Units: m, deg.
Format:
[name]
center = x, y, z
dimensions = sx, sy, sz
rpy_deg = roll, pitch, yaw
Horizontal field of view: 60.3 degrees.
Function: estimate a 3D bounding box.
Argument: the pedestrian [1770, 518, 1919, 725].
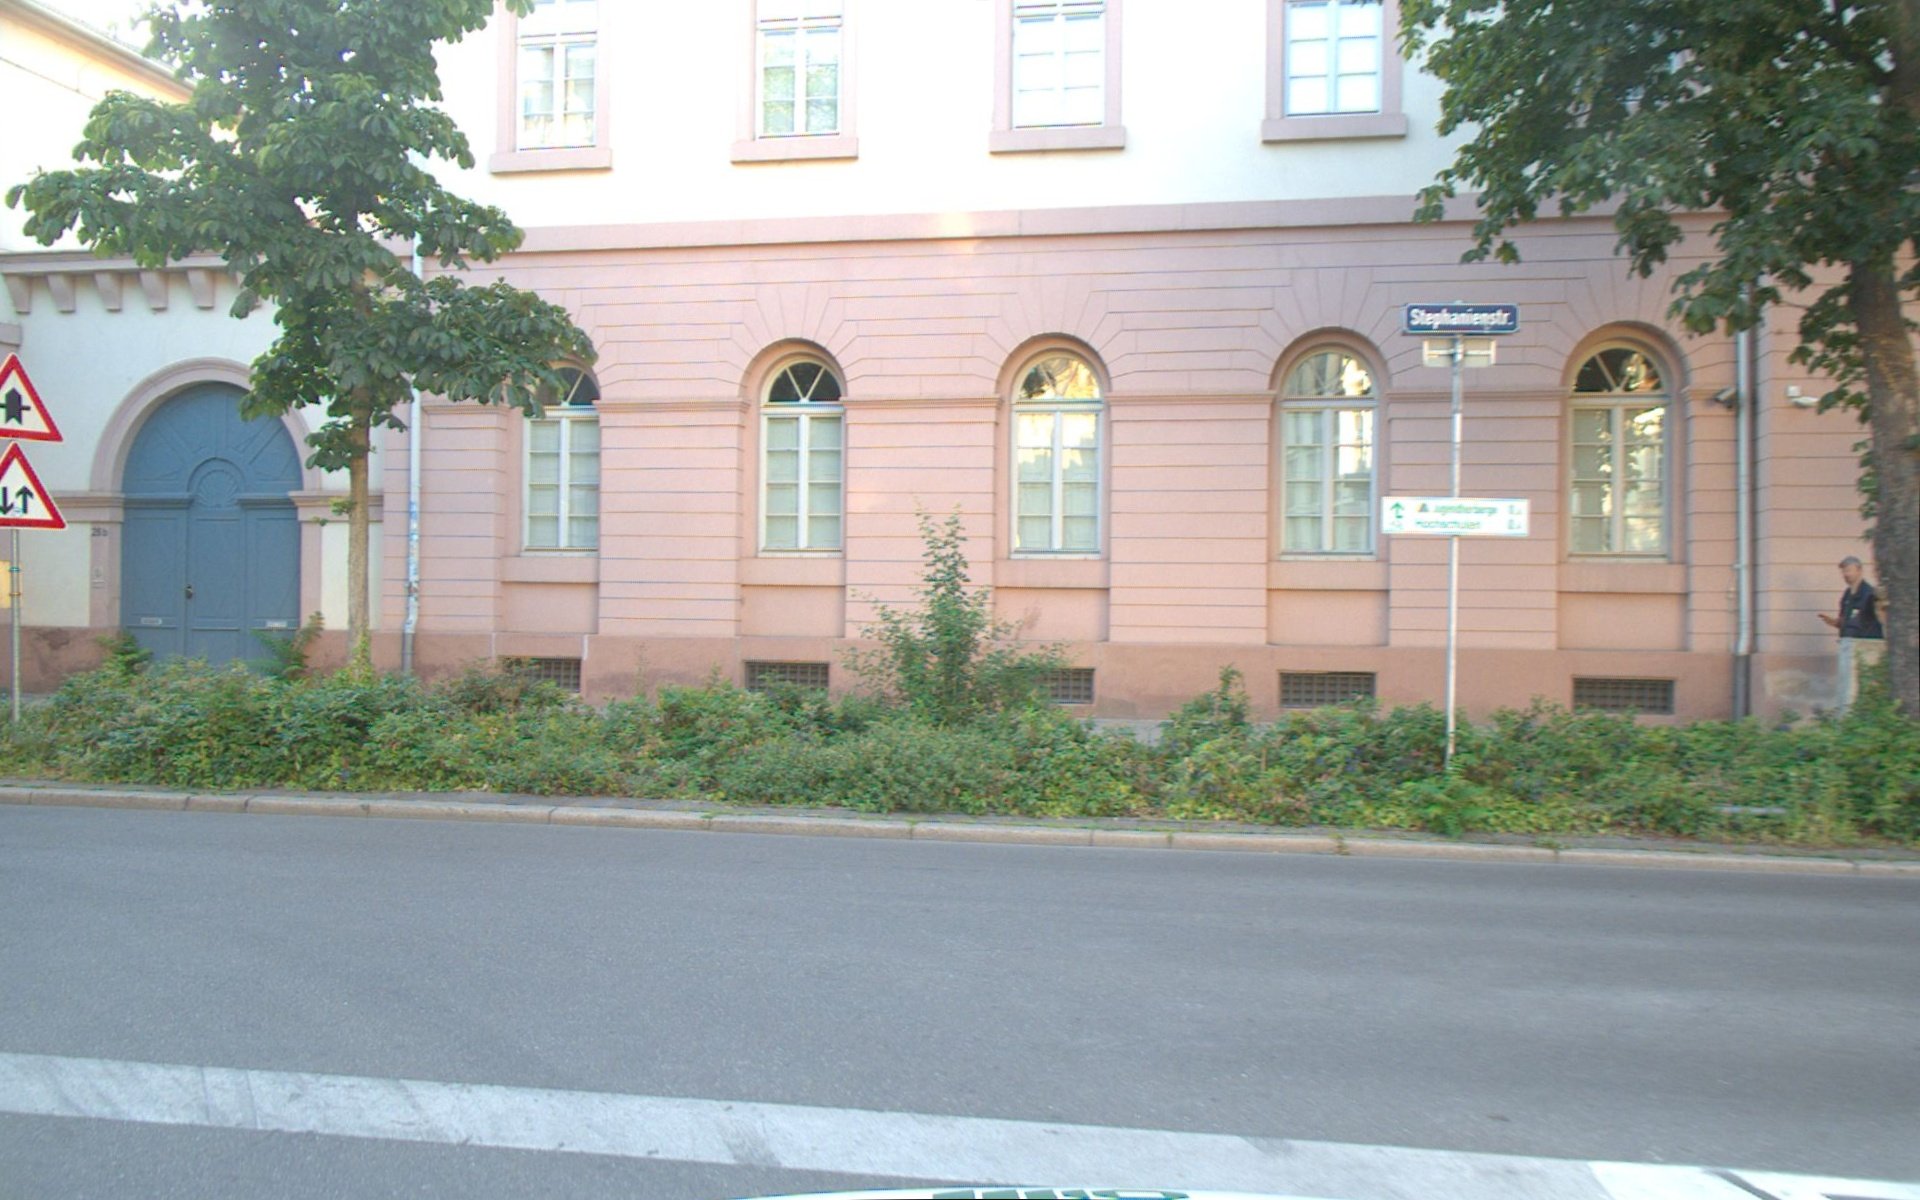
[pedestrian]
center = 8.226, 0.191, 15.397
dimensions = 1.056, 1.871, 0.801
rpy_deg = 1, 0, 11
